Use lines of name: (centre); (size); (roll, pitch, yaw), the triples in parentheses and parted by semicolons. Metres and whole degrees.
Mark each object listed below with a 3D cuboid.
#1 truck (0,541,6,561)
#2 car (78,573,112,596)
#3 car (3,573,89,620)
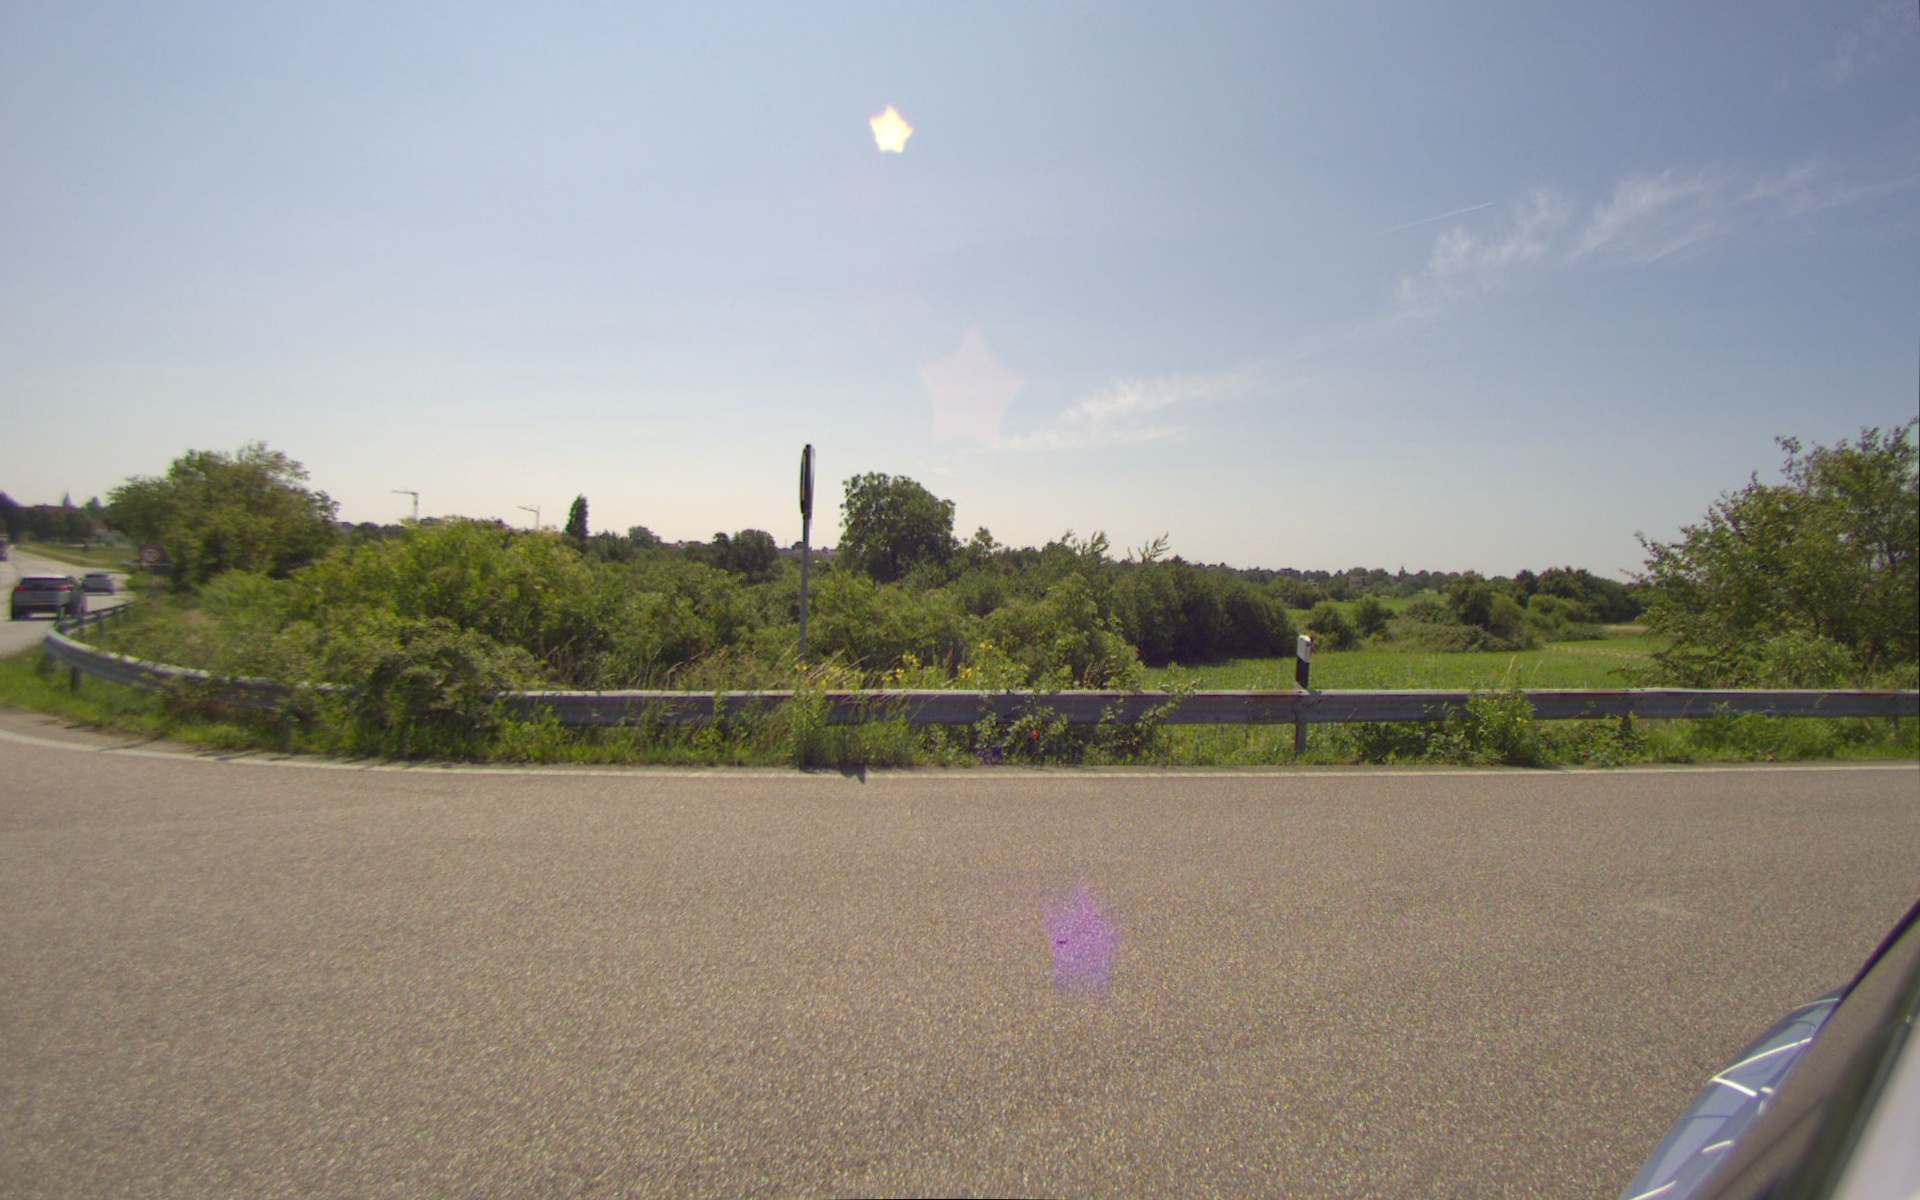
truck: (-138.366, -7.071, 144.784); (2.815, 2.822, 6.943); (0, 2, -43)
car: (-60.324, -1.091, 70.600); (1.498, 1.592, 3.668); (0, 1, -36)
car: (-33.287, -0.133, 36.976); (1.764, 1.603, 4.491); (0, 0, -35)
